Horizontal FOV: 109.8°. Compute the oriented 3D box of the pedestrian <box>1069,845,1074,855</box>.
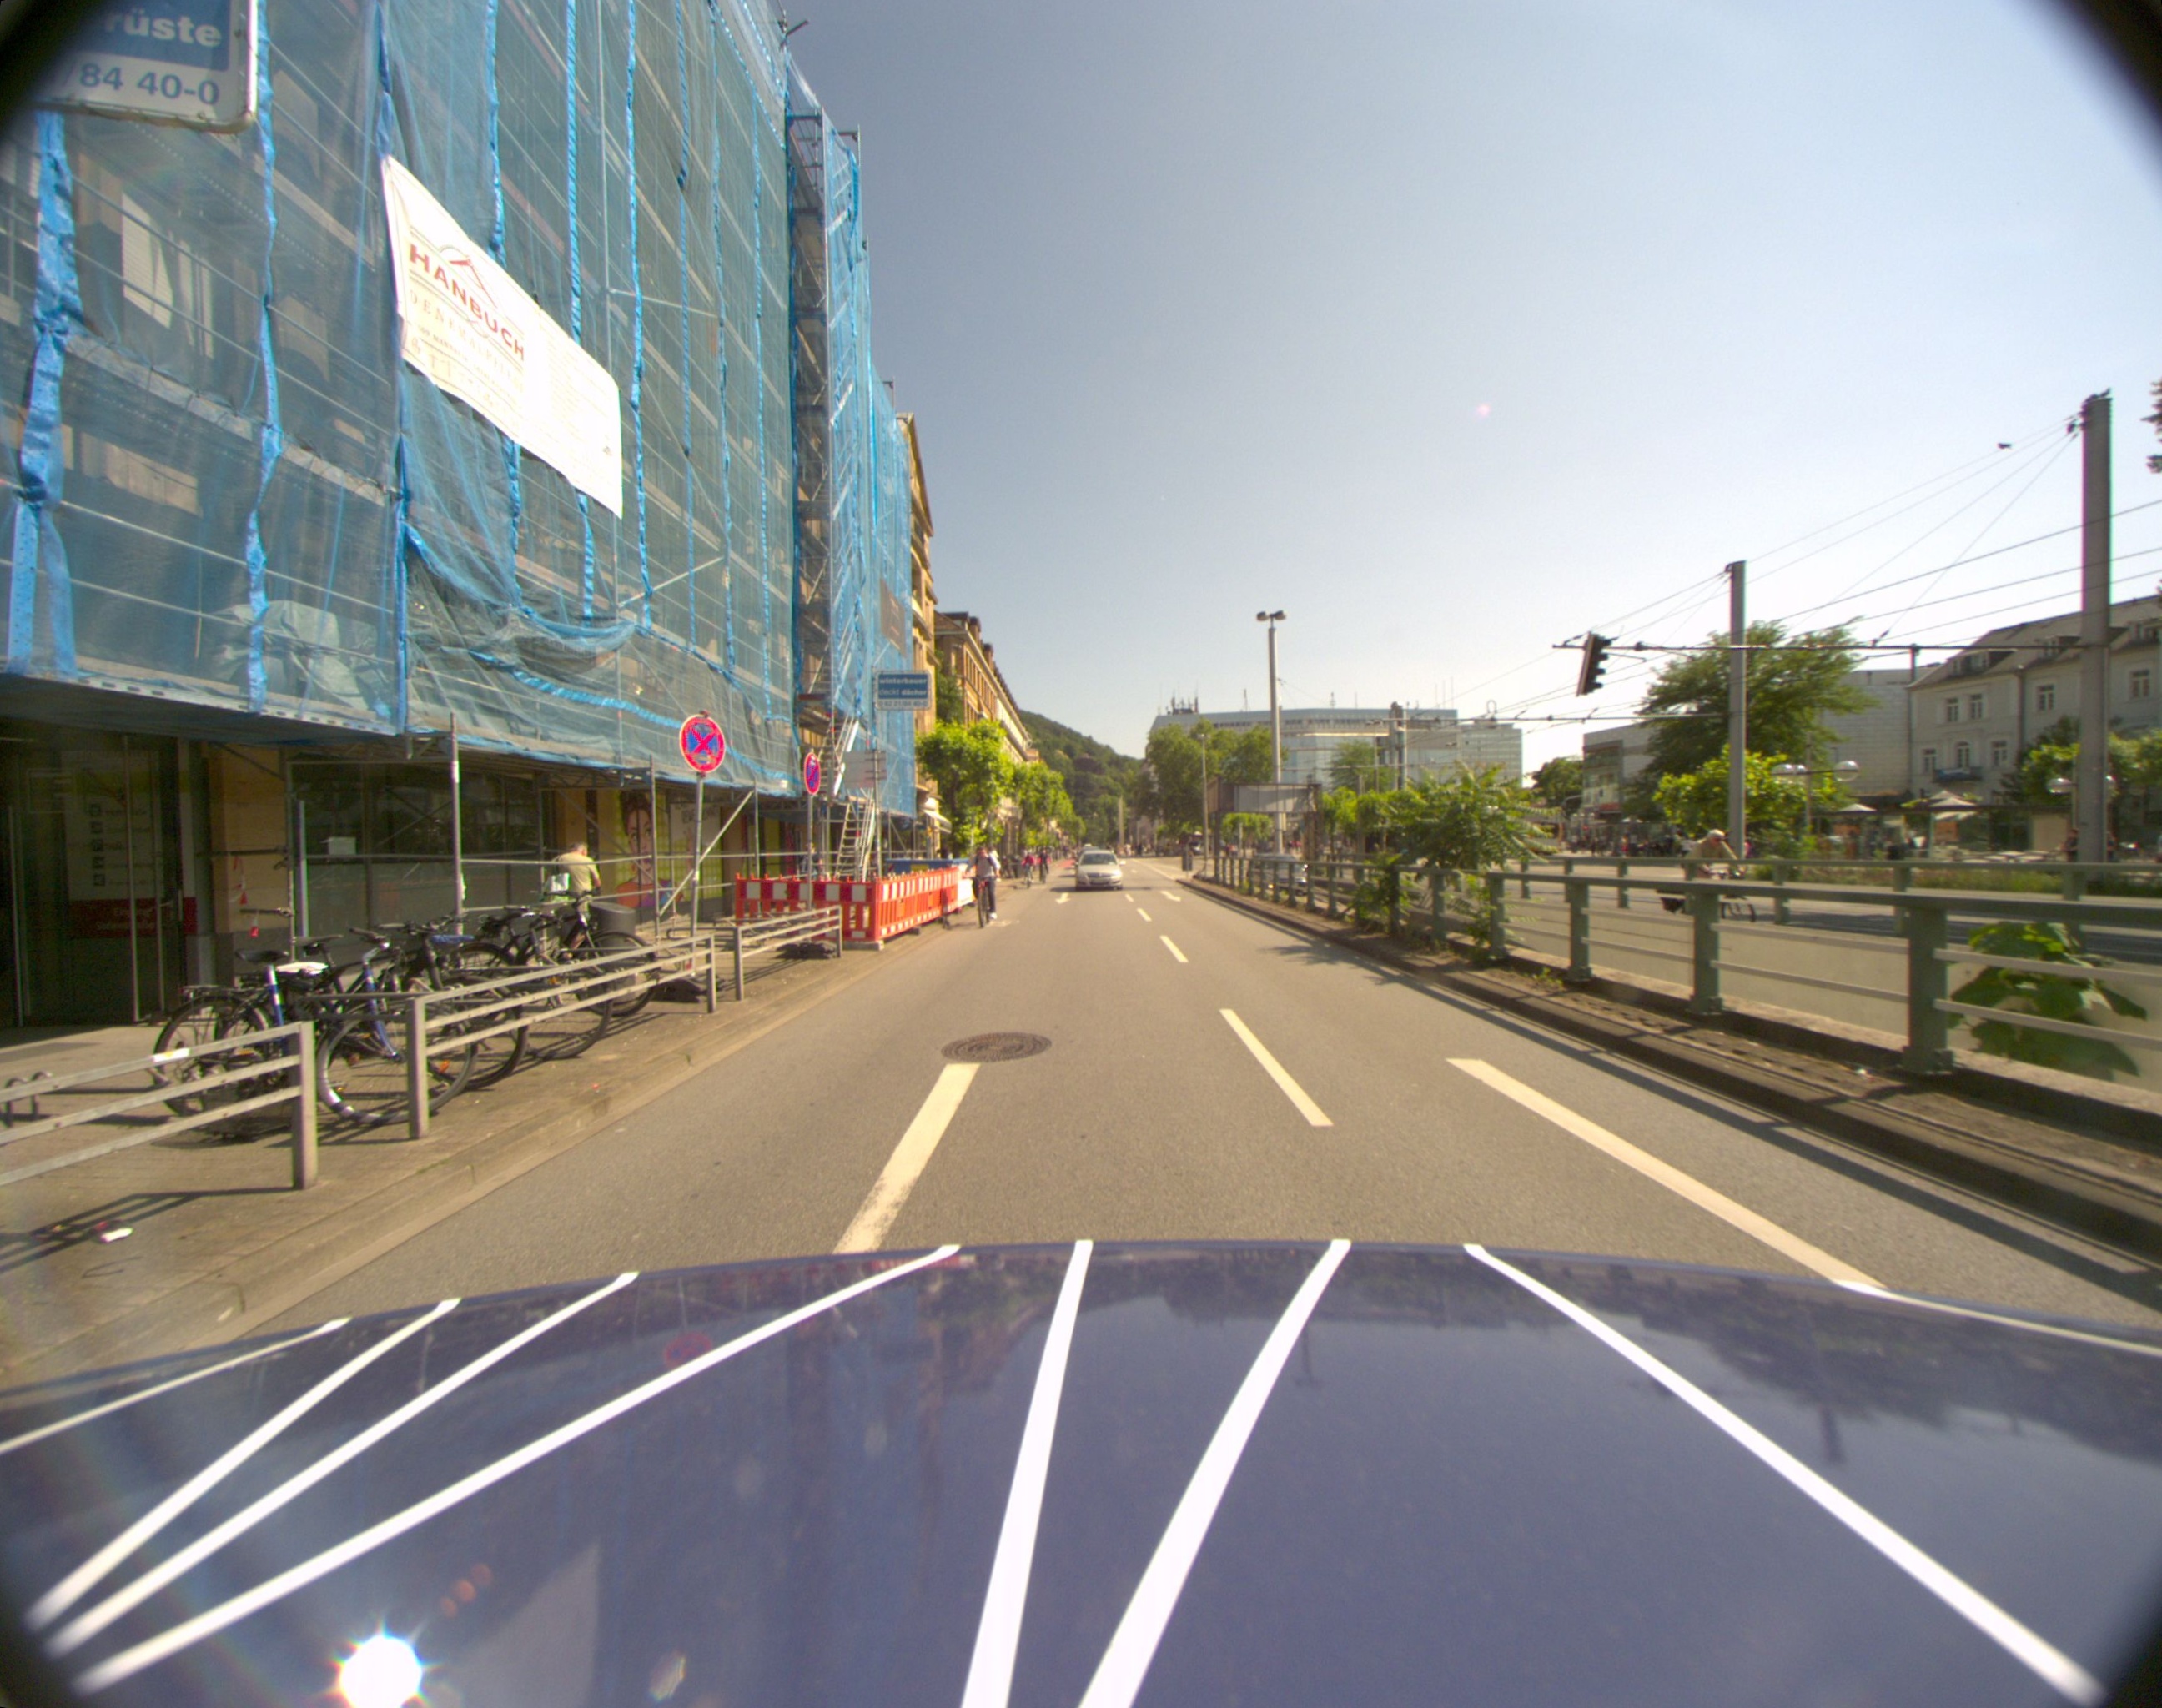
[{"bbox_3d":[-1.386,-0.615,111.770,0.672,1.488,0.637,-2,2,-13],"label":"pedestrian"}]

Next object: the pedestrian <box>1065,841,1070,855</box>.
[{"bbox_3d":[-1.864,-0.787,102.156,0.578,1.835,0.717,-3,2,-2],"label":"pedestrian"}]

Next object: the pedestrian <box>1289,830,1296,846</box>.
[{"bbox_3d":[24.205,-1.883,87.099,0.577,1.805,0.605,1,1,1],"label":"pedestrian"}]

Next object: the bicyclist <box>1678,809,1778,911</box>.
[{"bbox_3d":[10.700,0.096,12.609,0.819,1.612,0.902,2,1,1],"label":"bicyclist"}]

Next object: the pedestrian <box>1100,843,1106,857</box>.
[{"bbox_3d":[3.000,-0.533,102.952,0.699,1.775,0.578,0,2,-5],"label":"pedestrian"}]

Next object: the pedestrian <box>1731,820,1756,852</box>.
[{"bbox_3d":[34.862,-0.945,39.979,0.678,1.696,0.705,1,1,0],"label":"pedestrian"}]

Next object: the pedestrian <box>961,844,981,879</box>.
[{"bbox_3d":[-5.887,0.392,40.782,0.816,1.838,0.891,0,2,8],"label":"pedestrian"}]

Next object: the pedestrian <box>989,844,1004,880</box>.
[{"bbox_3d":[-4.043,0.369,36.304,0.658,1.674,0.652,-2,3,-8],"label":"pedestrian"}]

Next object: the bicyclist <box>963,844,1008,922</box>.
[{"bbox_3d":[-2.024,0.598,16.180,0.750,1.568,0.778,-3,2,1],"label":"bicyclist"}]

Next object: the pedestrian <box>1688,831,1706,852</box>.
[{"bbox_3d":[37.279,-0.750,45.969,0.622,1.256,0.582,1,1,10],"label":"pedestrian"}]

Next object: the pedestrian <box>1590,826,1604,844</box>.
[{"bbox_3d":[43.228,-1.585,63.671,0.625,1.457,0.680,1,1,-2],"label":"pedestrian"}]

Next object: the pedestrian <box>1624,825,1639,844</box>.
[{"bbox_3d":[43.855,-1.530,60.513,0.625,1.457,0.680,1,1,-4],"label":"pedestrian"}]

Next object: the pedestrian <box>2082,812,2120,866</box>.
[{"bbox_3d":[31.067,-0.456,23.148,0.414,1.600,0.495,1,1,-1],"label":"pedestrian"}]

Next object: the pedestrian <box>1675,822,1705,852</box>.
[{"bbox_3d":[36.309,-1.015,45.333,0.967,1.783,1.081,1,1,10],"label":"pedestrian"}]

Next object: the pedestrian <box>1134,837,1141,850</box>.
[{"bbox_3d":[7.679,-1.395,104.062,0.537,1.773,0.744,-2,2,36],"label":"pedestrian"}]

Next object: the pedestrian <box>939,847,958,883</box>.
[{"bbox_3d":[-6.779,0.563,38.980,0.669,1.771,0.985,-1,2,5],"label":"pedestrian"}]

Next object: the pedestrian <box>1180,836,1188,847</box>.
[{"bbox_3d":[14.042,-1.737,103.611,0.752,1.400,0.782,-4,2,-9],"label":"pedestrian"}]

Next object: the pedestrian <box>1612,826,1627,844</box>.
[{"bbox_3d":[43.534,-1.553,61.440,0.625,1.457,0.680,1,1,-4],"label":"pedestrian"}]

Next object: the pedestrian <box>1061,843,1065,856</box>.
[{"bbox_3d":[-2.526,-0.661,105.726,0.578,1.775,0.699,0,2,-2],"label":"pedestrian"}]

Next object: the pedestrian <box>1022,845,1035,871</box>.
[{"bbox_3d":[-3.310,0.260,47.852,0.697,1.617,0.701,-1,2,-9],"label":"pedestrian"}]

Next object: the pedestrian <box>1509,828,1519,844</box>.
[{"bbox_3d":[39.801,-1.631,69.803,0.526,1.457,0.588,1,1,-19],"label":"pedestrian"}]

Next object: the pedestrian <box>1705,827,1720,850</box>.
[{"bbox_3d":[35.762,-0.879,43.014,0.404,1.256,0.481,1,1,-18],"label":"pedestrian"}]

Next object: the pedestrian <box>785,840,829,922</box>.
[{"bbox_3d":[-6.139,0.588,17.050,0.641,1.766,0.649,-3,2,1],"label":"pedestrian"}]

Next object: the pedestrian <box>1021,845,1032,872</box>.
[{"bbox_3d":[-3.359,0.270,46.859,0.601,1.617,0.643,1,2,-11],"label":"pedestrian"}]

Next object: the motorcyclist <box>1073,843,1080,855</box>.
[{"bbox_3d":[-0.521,-0.620,92.627,0.736,1.446,0.706,-3,2,1],"label":"motorcyclist"}]

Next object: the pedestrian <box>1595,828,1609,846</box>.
[{"bbox_3d":[42.971,-1.431,62.652,0.625,1.457,0.680,1,1,-4],"label":"pedestrian"}]

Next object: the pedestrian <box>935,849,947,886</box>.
[{"bbox_3d":[-6.472,0.622,35.127,0.381,1.673,0.477,0,2,9],"label":"pedestrian"}]

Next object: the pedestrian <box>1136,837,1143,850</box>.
[{"bbox_3d":[7.827,-1.420,102.342,0.630,1.639,0.753,-2,2,27],"label":"pedestrian"}]

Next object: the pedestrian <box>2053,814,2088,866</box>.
[{"bbox_3d":[31.108,-0.439,23.888,0.453,1.600,0.465,1,1,-5],"label":"pedestrian"}]

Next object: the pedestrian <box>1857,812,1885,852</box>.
[{"bbox_3d":[39.901,-1.091,38.376,0.630,1.996,0.736,1,1,6],"label":"pedestrian"}]

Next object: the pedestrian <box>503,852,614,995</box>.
[{"bbox_3d":[-6.180,0.793,9.029,0.645,1.592,0.765,-3,2,1],"label":"pedestrian"}]

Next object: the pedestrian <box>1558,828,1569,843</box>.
[{"bbox_3d":[47.962,-1.827,75.547,0.624,1.457,0.680,1,1,4],"label":"pedestrian"}]

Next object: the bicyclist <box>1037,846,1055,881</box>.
[{"bbox_3d":[-1.596,0.419,34.870,0.690,1.568,0.778,-3,2,-2],"label":"bicyclist"}]

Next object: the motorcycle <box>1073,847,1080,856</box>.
[{"bbox_3d":[-0.512,-0.303,92.607,0.736,1.086,1.897,-3,1,1],"label":"motorcycle"}]

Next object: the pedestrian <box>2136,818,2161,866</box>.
[{"bbox_3d":[33.435,-0.363,23.543,0.526,1.484,0.661,1,1,-2],"label":"pedestrian"}]

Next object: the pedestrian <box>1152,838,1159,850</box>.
[{"bbox_3d":[10.566,-1.423,107.807,0.751,1.737,0.666,-3,2,0],"label":"pedestrian"}]

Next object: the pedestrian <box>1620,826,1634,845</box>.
[{"bbox_3d":[43.152,-1.435,60.034,0.624,1.457,0.681,1,1,5],"label":"pedestrian"}]

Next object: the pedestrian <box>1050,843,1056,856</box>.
[{"bbox_3d":[-3.275,-0.537,87.738,0.606,1.529,0.666,-3,2,0],"label":"pedestrian"}]

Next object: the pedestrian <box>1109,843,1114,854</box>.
[{"bbox_3d":[4.853,-0.847,119.653,0.699,1.775,0.578,0,2,-5],"label":"pedestrian"}]

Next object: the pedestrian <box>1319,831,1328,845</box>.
[{"bbox_3d":[24.745,-1.625,77.570,0.626,1.457,0.552,1,1,-21],"label":"pedestrian"}]

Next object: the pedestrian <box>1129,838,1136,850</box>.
[{"bbox_3d":[7.589,-1.425,112.014,0.876,1.737,0.733,-3,2,0],"label":"pedestrian"}]

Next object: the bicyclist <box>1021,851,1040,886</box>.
[{"bbox_3d":[-2.090,0.602,31.469,0.690,1.388,0.778,-3,2,-1],"label":"bicyclist"}]

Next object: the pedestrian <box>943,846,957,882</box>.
[{"bbox_3d":[-6.147,0.460,35.755,0.499,1.674,0.537,0,3,9],"label":"pedestrian"}]
